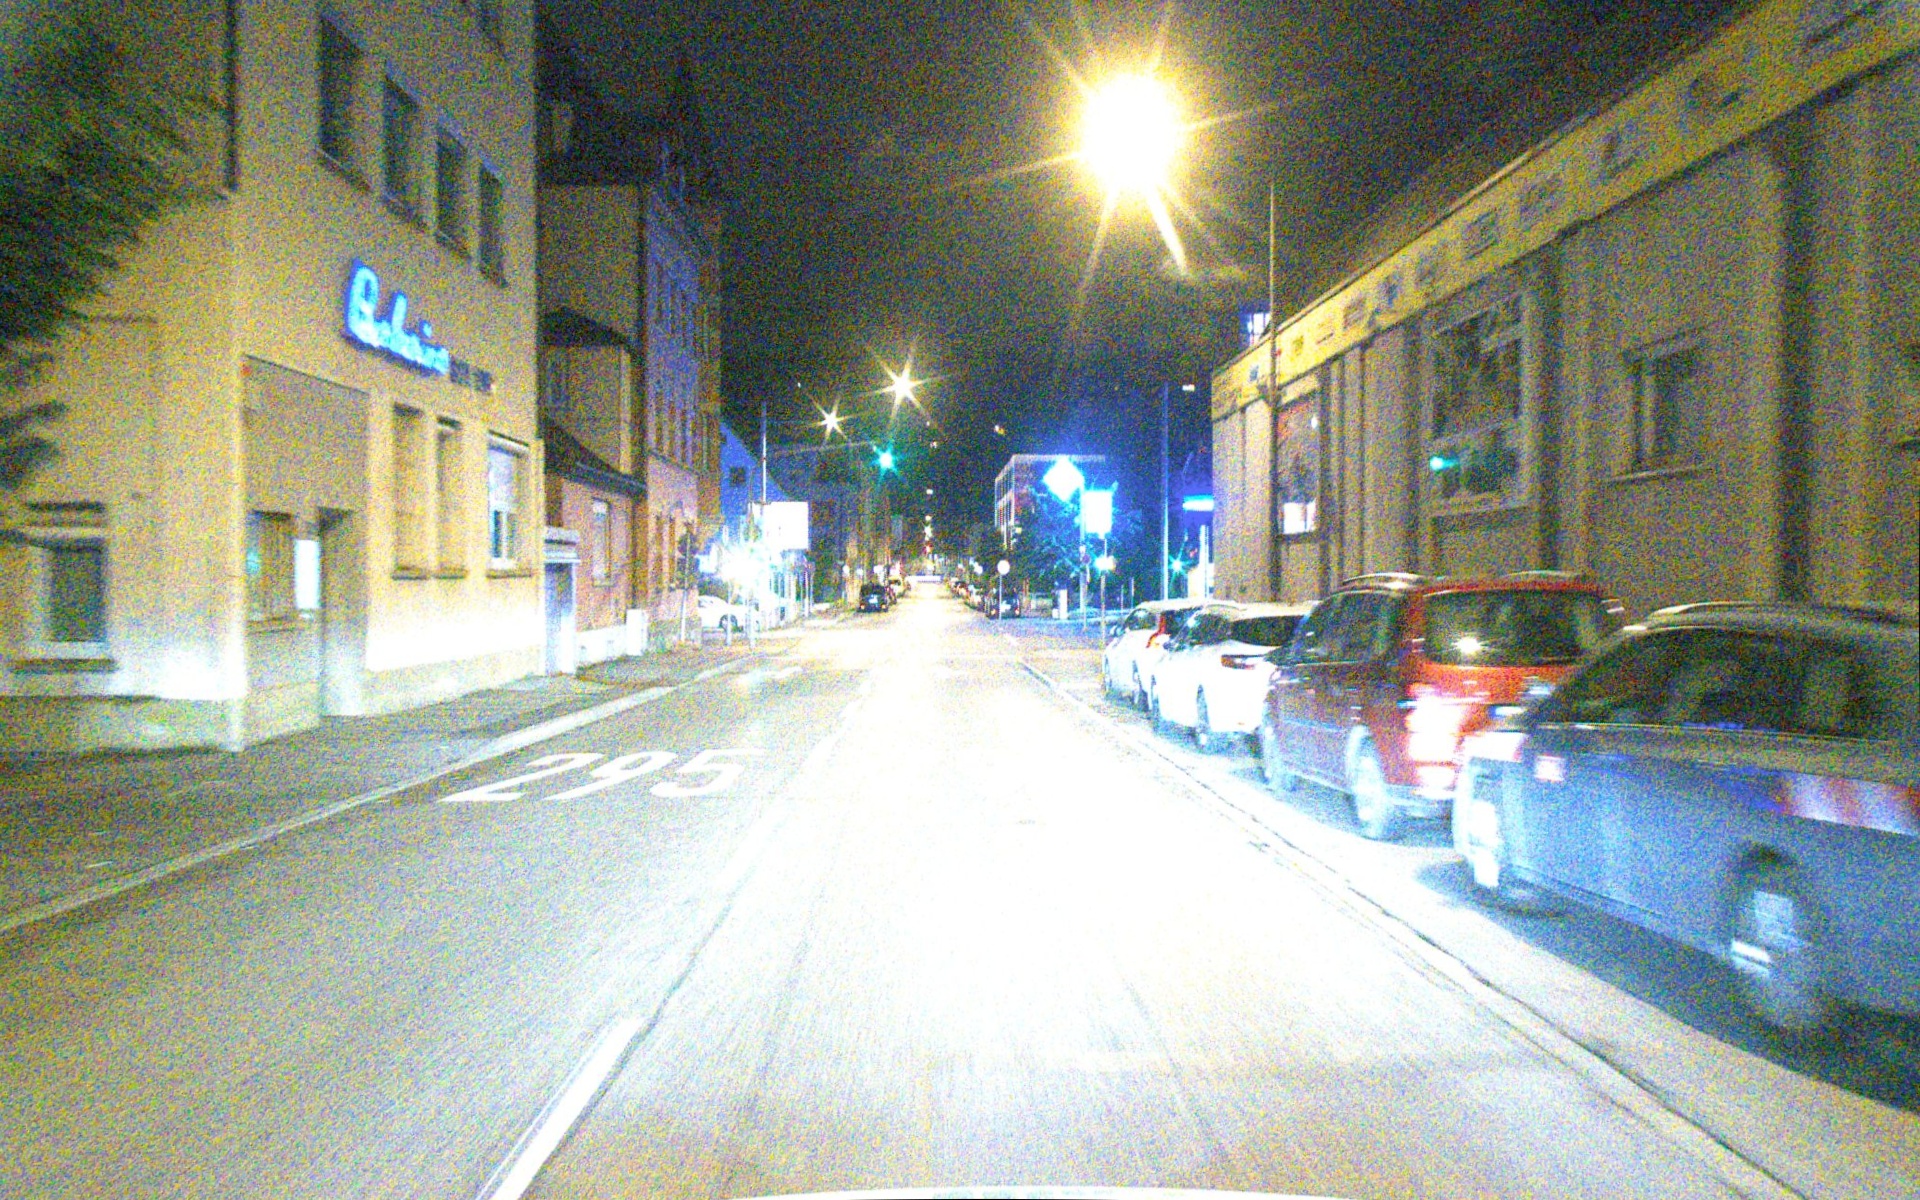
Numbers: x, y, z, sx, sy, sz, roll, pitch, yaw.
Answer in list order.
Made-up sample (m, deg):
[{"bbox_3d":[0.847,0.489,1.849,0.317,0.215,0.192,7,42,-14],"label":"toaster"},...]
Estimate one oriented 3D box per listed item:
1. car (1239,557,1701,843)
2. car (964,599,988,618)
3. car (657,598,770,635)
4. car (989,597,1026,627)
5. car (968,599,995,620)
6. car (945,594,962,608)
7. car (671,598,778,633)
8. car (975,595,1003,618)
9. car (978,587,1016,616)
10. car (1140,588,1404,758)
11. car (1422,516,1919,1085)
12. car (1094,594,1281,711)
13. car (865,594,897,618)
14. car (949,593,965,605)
[{"bbox_3d":[3.391,0.578,11.981,1.787,1.651,4.455,-1,0,-3],"label":"car"},{"bbox_3d":[1.345,0.711,140.398,1.952,1.547,4.000,0,-1,1],"label":"car"},{"bbox_3d":[-10.054,0.668,67.652,4.349,1.475,1.999,0,-1,-2],"label":"car"},{"bbox_3d":[2.619,0.646,91.753,1.952,1.543,4.000,1,0,1],"label":"car"},{"bbox_3d":[1.614,0.695,123.062,1.952,1.547,4.000,0,-1,1],"label":"car"},{"bbox_3d":[-0.734,0.121,188.022,1.952,1.547,4.000,0,-1,1],"label":"car"},{"bbox_3d":[-10.021,0.665,70.683,4.350,1.475,1.999,0,-1,-3],"label":"car"},{"bbox_3d":[2.025,0.456,115.563,1.952,1.547,4.000,0,-1,1],"label":"car"},{"bbox_3d":[2.150,0.084,97.288,1.953,1.623,3.998,1,0,-2],"label":"car"},{"bbox_3d":[3.157,0.709,17.672,1.739,1.571,4.543,0,-1,-3],"label":"car"},{"bbox_3d":[3.530,0.550,6.812,1.787,1.616,4.626,-1,0,-2],"label":"car"},{"bbox_3d":[3.153,0.710,23.828,1.823,1.515,4.543,0,-1,-3],"label":"car"},{"bbox_3d":[-5.241,0.431,110.231,1.953,1.528,3.999,0,-1,-1],"label":"car"},{"bbox_3d":[-0.417,-0.111,211.005,1.952,1.547,4.000,0,-1,1],"label":"car"}]
